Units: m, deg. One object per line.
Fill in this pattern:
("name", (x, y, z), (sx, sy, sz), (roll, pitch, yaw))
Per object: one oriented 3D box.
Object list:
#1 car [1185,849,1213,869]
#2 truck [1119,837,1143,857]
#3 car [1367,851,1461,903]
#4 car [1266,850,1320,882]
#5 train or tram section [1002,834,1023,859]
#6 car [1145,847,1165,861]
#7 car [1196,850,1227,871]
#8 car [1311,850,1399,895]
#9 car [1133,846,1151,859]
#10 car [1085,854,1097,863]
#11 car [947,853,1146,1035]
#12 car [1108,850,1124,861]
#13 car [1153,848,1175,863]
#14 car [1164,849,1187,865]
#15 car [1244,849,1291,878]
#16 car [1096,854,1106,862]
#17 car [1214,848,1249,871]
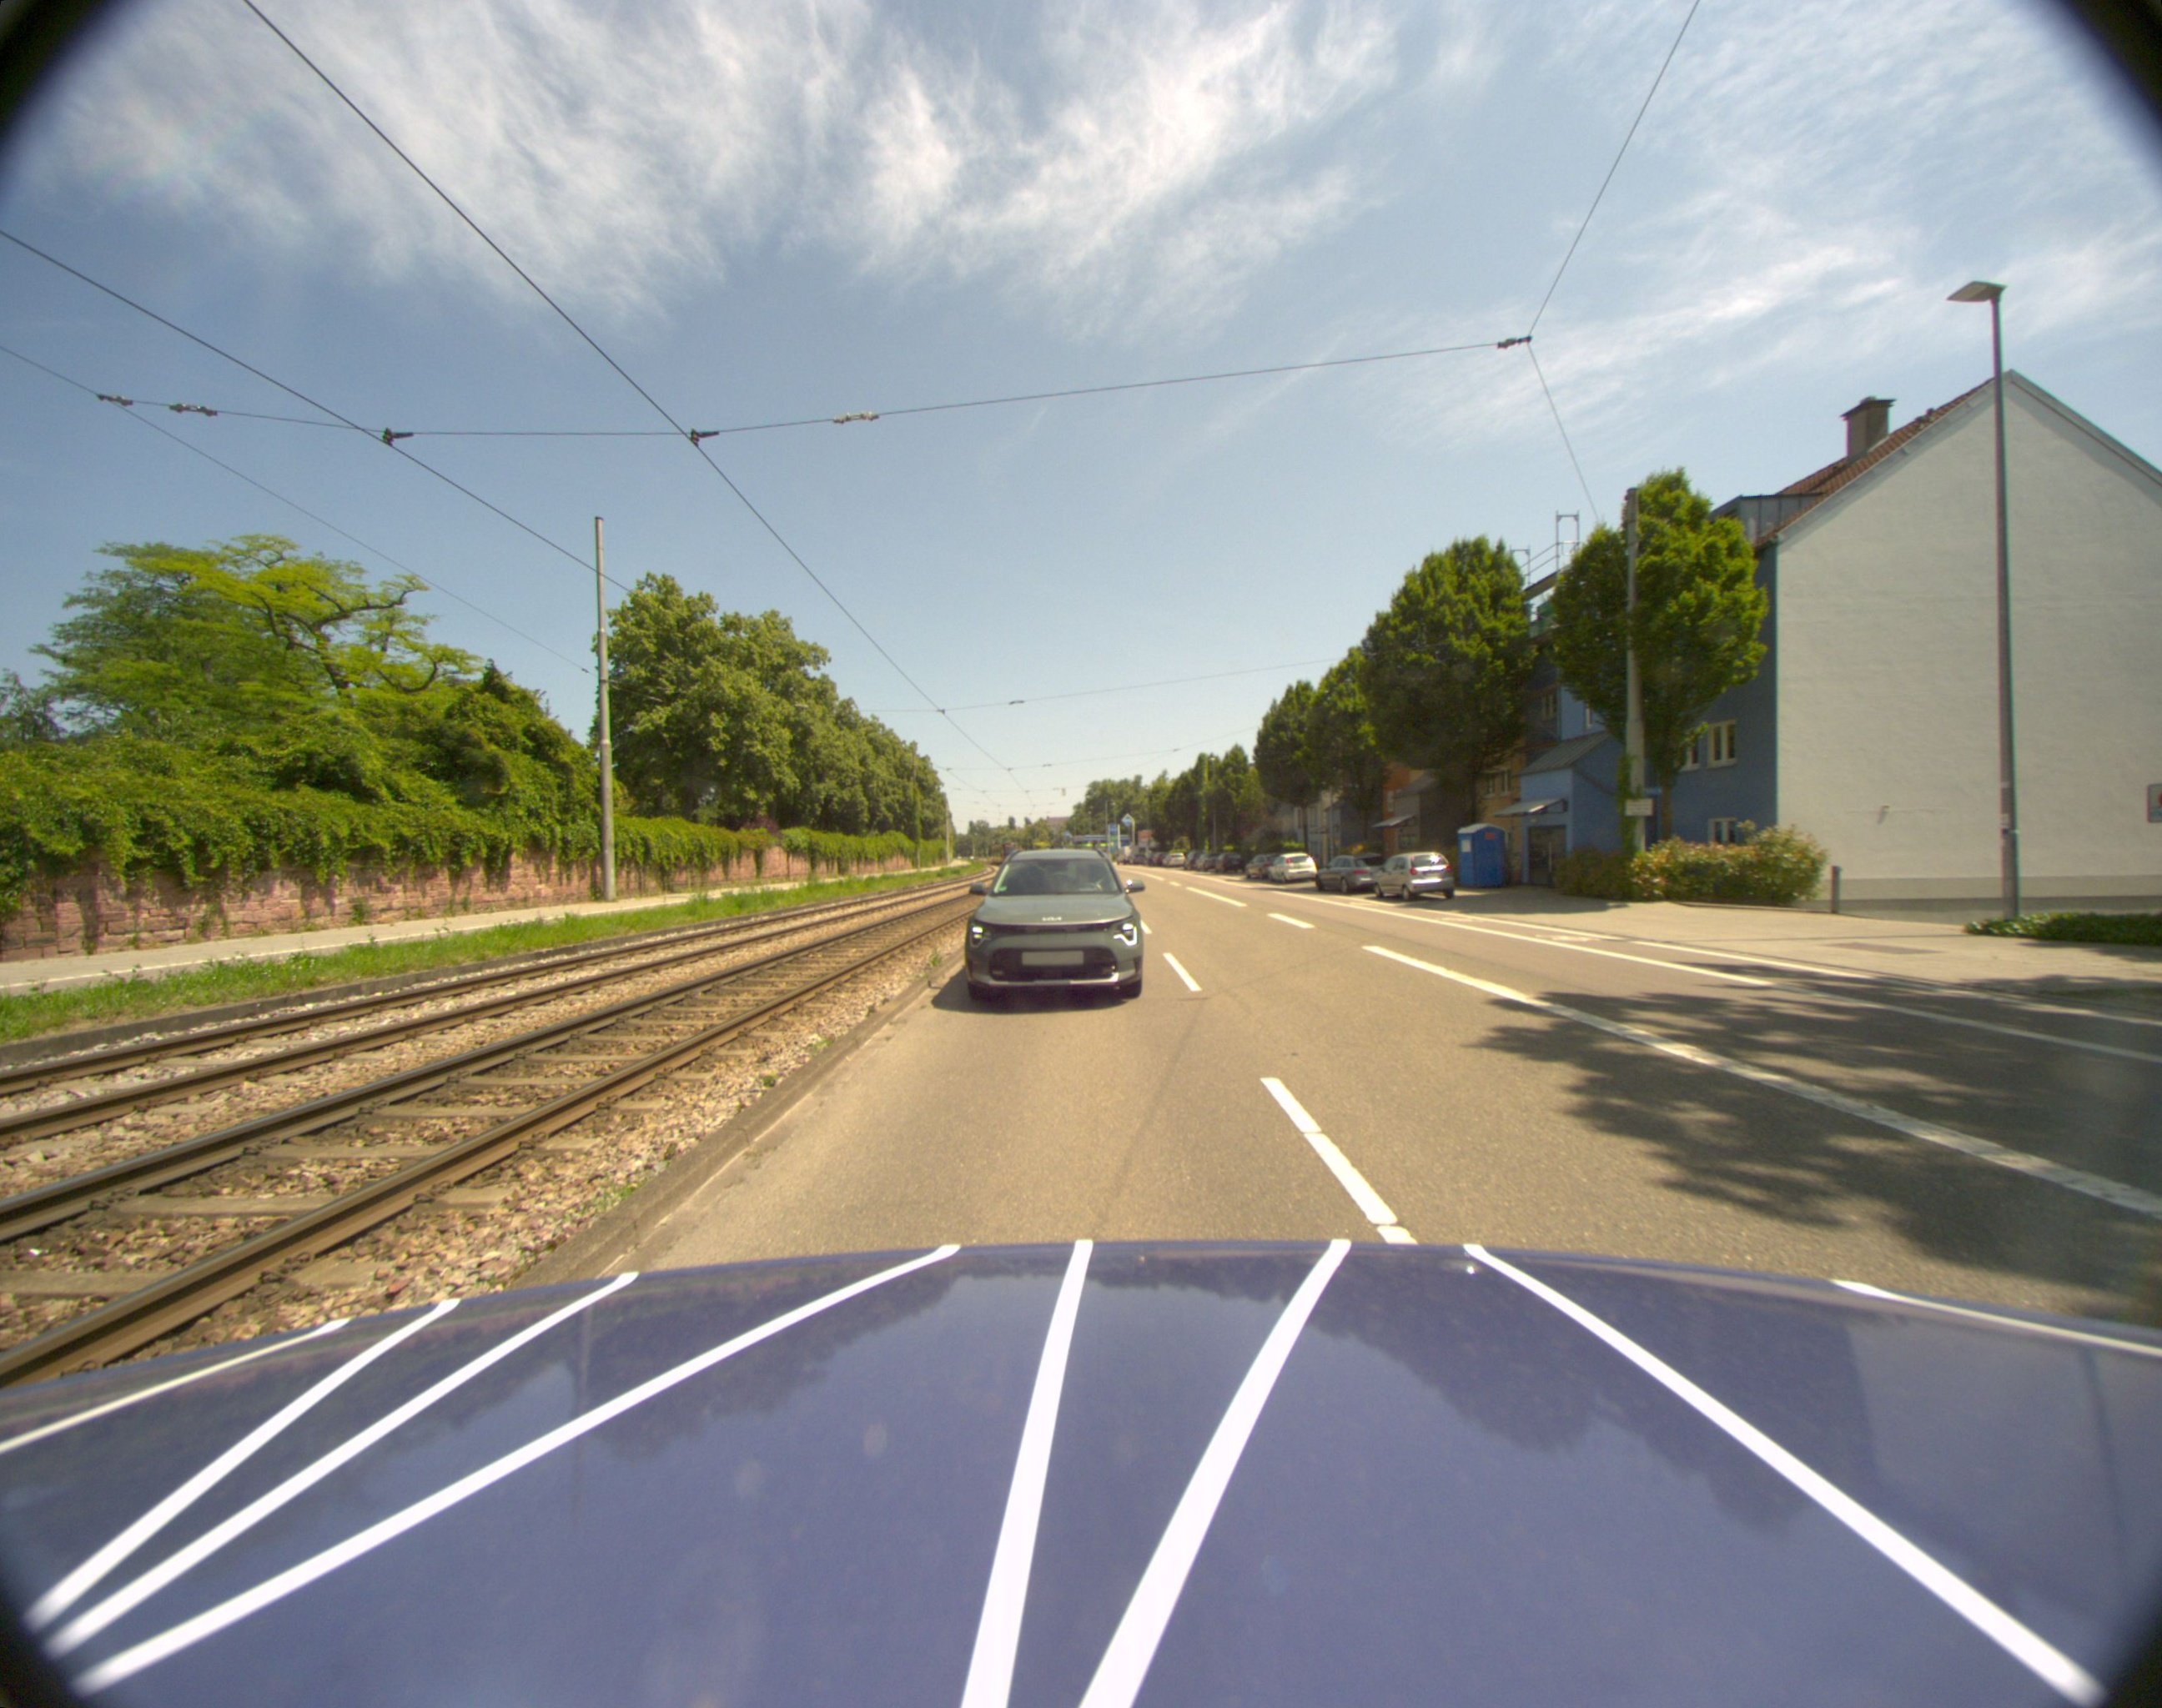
("car", (10.471, 0.403, 67.605), (1.656, 1.578, 4.081), (-5, 1, -1))
("truck", (6.819, -0.925, 104.945), (2.135, 2.565, 4.860), (-5, 1, -8))
("car", (10.862, 0.706, 25.018), (1.505, 1.487, 3.281), (-5, 1, -1))
("car", (11.095, 0.606, 40.039), (1.656, 1.487, 3.649), (-5, 1, -1))
("train or tram section", (-11.206, -1.243, 125.740), (2.814, 3.785, 14.255), (-2, 1, -3))
("car", (8.770, 0.027, 90.130), (1.865, 1.487, 3.470), (-5, 1, -1))
("car", (10.574, 0.506, 61.684), (1.656, 1.487, 4.081), (-5, 1, -1))
("car", (10.751, 0.665, 30.189), (1.680, 1.487, 4.638), (-5, 1, -1))
("car", (7.856, -0.223, 98.477), (1.865, 1.487, 3.470), (-5, 1, -1))
("car", (1.801, 0.766, 134.674), (1.865, 1.487, 3.470), (-5, 1, -1))
("car", (-0.304, 0.815, 9.127), (1.759, 1.574, 4.426), (-2, 0, 0))
("car", (5.355, 0.268, 116.631), (1.866, 1.487, 3.468), (-5, 1, -8))
("car", (9.269, 0.120, 84.960), (1.865, 1.487, 3.470), (-5, 1, -1))
("car", (9.777, 0.310, 79.059), (1.723, 1.487, 4.081), (-5, 1, -1))
("car", (11.099, 0.534, 45.432), (1.656, 1.487, 4.081), (-5, 1, -1))
("car", (4.038, 0.784, 154.312), (1.865, 1.487, 3.469), (0, 1, -2))
("car", (11.166, 0.385, 56.756), (1.656, 1.487, 4.081), (-5, 1, -1))
